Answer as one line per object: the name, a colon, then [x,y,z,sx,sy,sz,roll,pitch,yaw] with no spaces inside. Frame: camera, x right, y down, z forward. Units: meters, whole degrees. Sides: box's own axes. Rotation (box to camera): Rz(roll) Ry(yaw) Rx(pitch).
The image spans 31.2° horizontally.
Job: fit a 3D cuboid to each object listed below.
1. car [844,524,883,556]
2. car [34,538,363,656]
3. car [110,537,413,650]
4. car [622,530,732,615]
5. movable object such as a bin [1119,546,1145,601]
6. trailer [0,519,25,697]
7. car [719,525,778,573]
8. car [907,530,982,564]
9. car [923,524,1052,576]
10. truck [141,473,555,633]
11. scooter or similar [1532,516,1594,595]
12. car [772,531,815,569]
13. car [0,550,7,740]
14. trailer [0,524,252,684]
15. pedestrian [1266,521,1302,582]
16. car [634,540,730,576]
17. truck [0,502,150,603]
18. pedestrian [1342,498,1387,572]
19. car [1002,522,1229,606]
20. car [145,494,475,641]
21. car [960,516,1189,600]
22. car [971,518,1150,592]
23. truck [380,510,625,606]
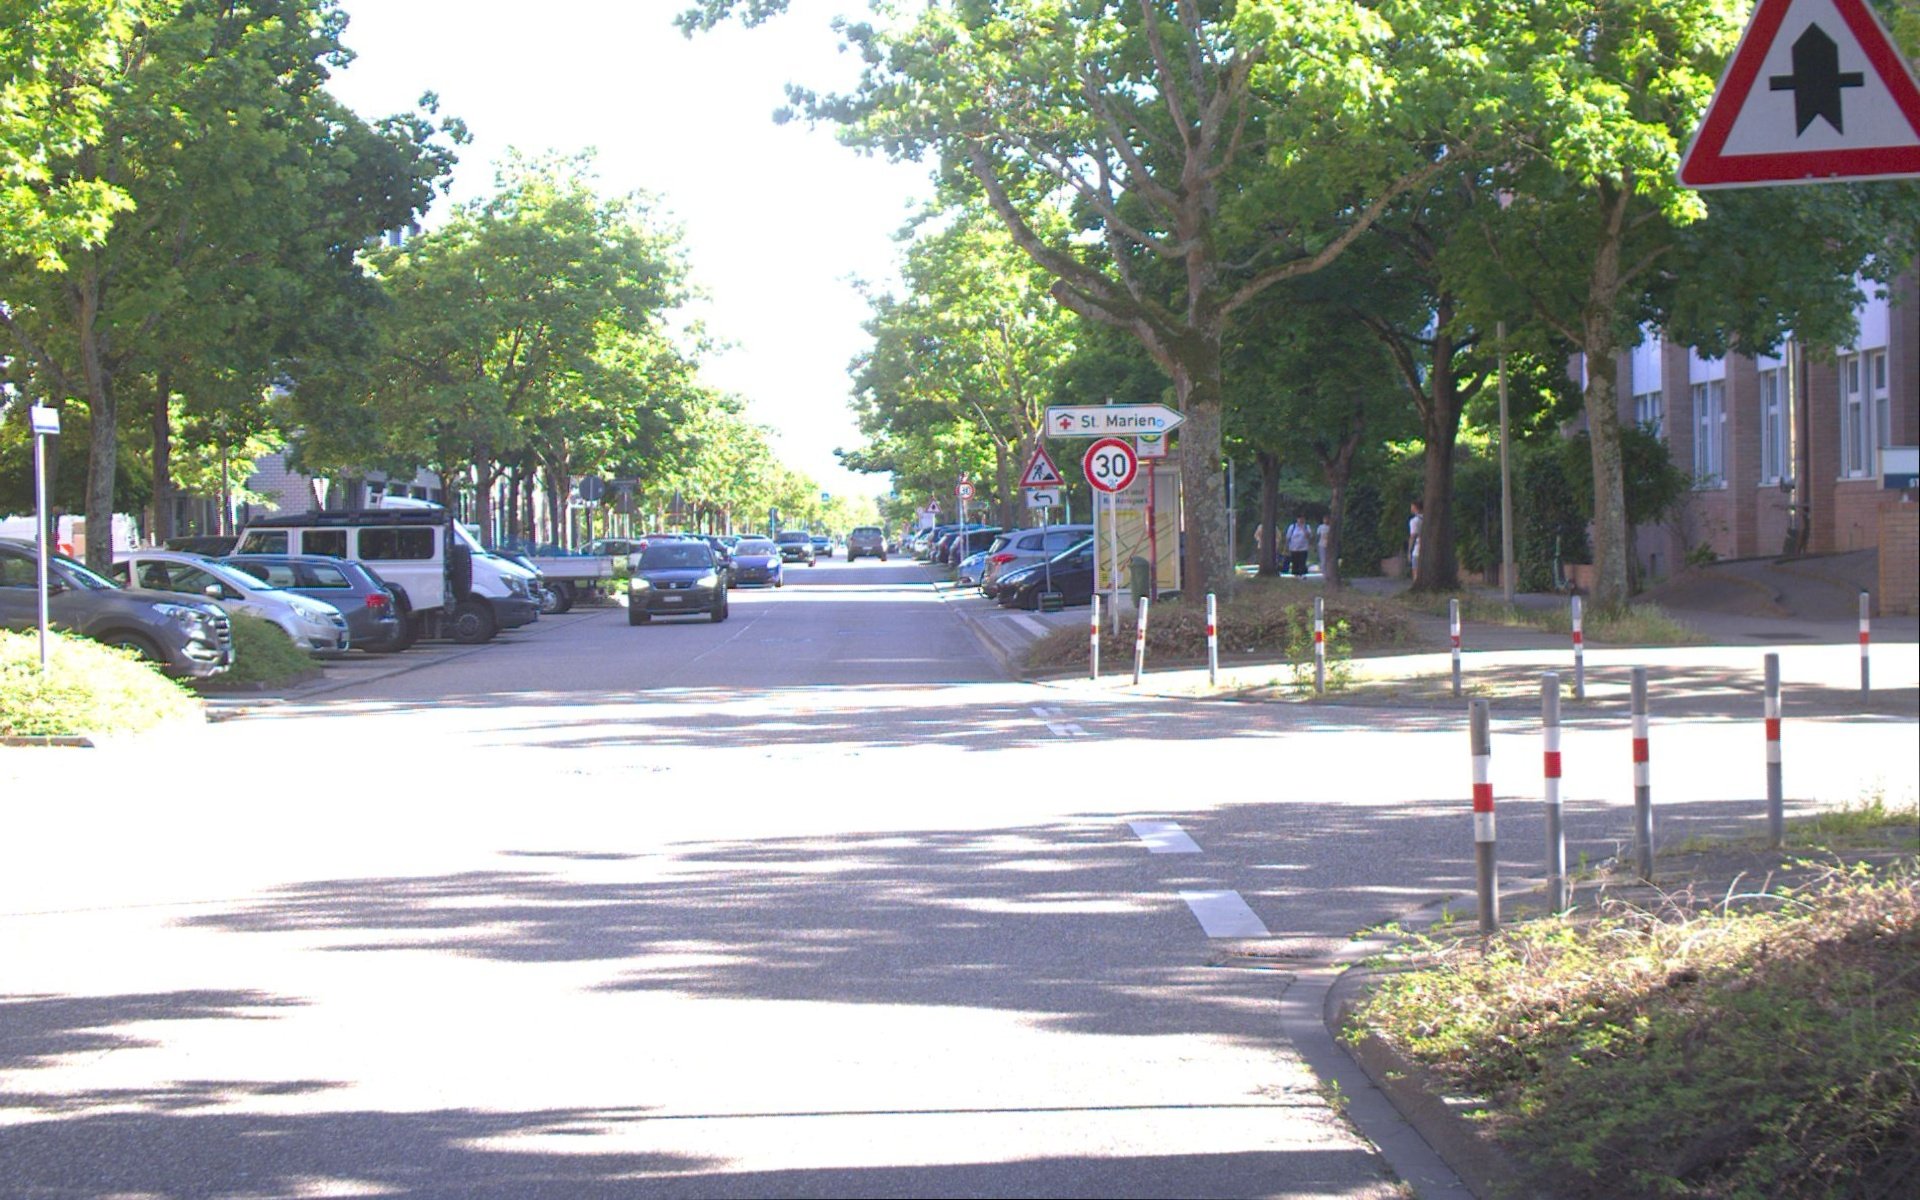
car: [-4.987,-3.096,177.048,1.933,1.592,4.367,-1,1,-2]
car: [-9.798,-0.055,44.408,3.835,1.456,1.732,0,1,2]
car: [-9.566,-0.109,47.268,3.778,1.487,1.833,0,1,0]
car: [-5.286,-0.537,64.584,1.779,1.506,4.000,-1,1,-1]
movable object such as a bin: [2.398,-0.373,47.995,0.298,0.751,0.467,-3,1,-1]
trailer: [-10.437,0.060,32.532,2.725,1.681,1.712,1,1,-1]
car: [-6.460,-1.563,105.324,1.643,1.415,4.000,-1,1,-1]
car: [-0.865,-2.929,189.938,3.986,1.786,2.000,-1,1,-6]
car: [0.937,-1.713,118.424,4.267,1.628,1.858,-2,1,-3]
truck: [-9.774,-0.761,55.315,6.232,2.413,2.187,-1,1,-1]
scooter or similar: [10.269,-0.751,58.611,0.548,1.321,1.806,1,1,-6]
car: [-7.604,-2.277,157.085,1.891,1.678,4.353,-1,1,-3]
car: [-9.163,0.330,25.421,3.754,1.447,1.754,1,1,-1]
trailer: [-9.464,0.016,34.870,4.260,1.566,1.856,0,1,-4]
pedestrian: [7.775,-1.165,82.488,0.700,1.453,0.716,-2,1,-4]
car: [-11.652,-1.771,144.285,3.892,1.459,1.858,-1,1,-2]
truck: [-25.989,-1.310,96.103,6.103,2.695,2.578,-1,1,-3]
pedestrian: [9.650,-1.547,81.983,0.695,1.705,0.921,-4,2,-12]
car: [2.794,-0.669,62.413,3.934,1.434,1.775,-1,1,-3]
car: [-9.397,-0.470,49.981,4.481,2.045,2.000,1,1,-3]
car: [2.304,-0.856,69.675,4.351,1.592,1.940,-1,1,-7]
car: [2.552,-1.165,88.331,4.405,1.612,1.912,-4,1,-2]
truck: [-9.879,-0.919,74.574,4.985,1.952,2.138,-1,1,0]
